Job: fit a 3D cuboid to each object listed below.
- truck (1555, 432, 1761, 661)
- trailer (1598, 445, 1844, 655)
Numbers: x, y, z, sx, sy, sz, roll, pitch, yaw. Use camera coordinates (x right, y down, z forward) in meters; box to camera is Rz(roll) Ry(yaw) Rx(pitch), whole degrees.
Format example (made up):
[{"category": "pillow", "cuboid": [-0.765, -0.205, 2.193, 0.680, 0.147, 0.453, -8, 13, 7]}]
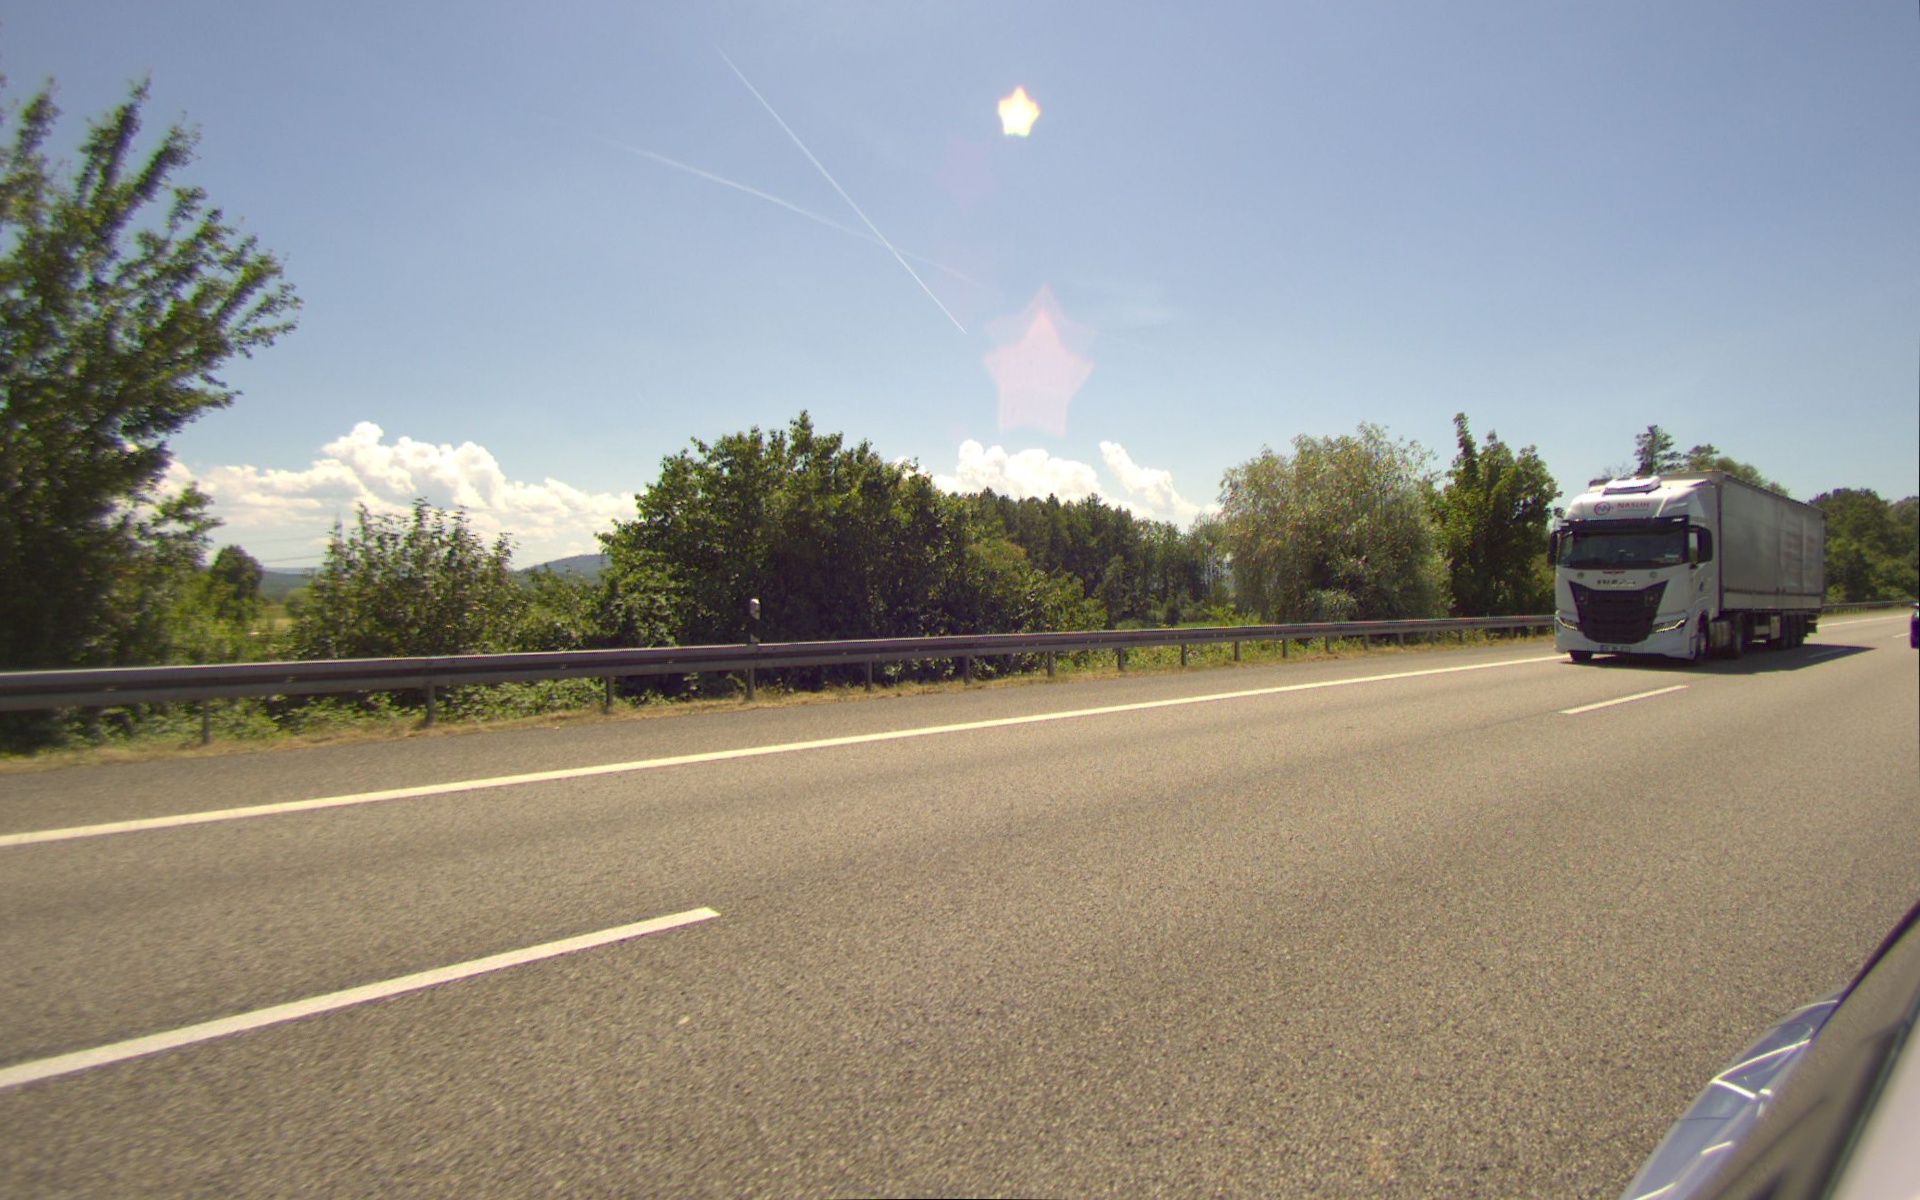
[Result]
[{"category": "truck", "cuboid": [15.758, -1.090, 22.733, 5.475, 4.528, 2.540, 0, 0, -41]}, {"category": "trailer", "cuboid": [21.100, -1.153, 27.472, 13.914, 4.528, 2.540, -1, 0, -41]}]
